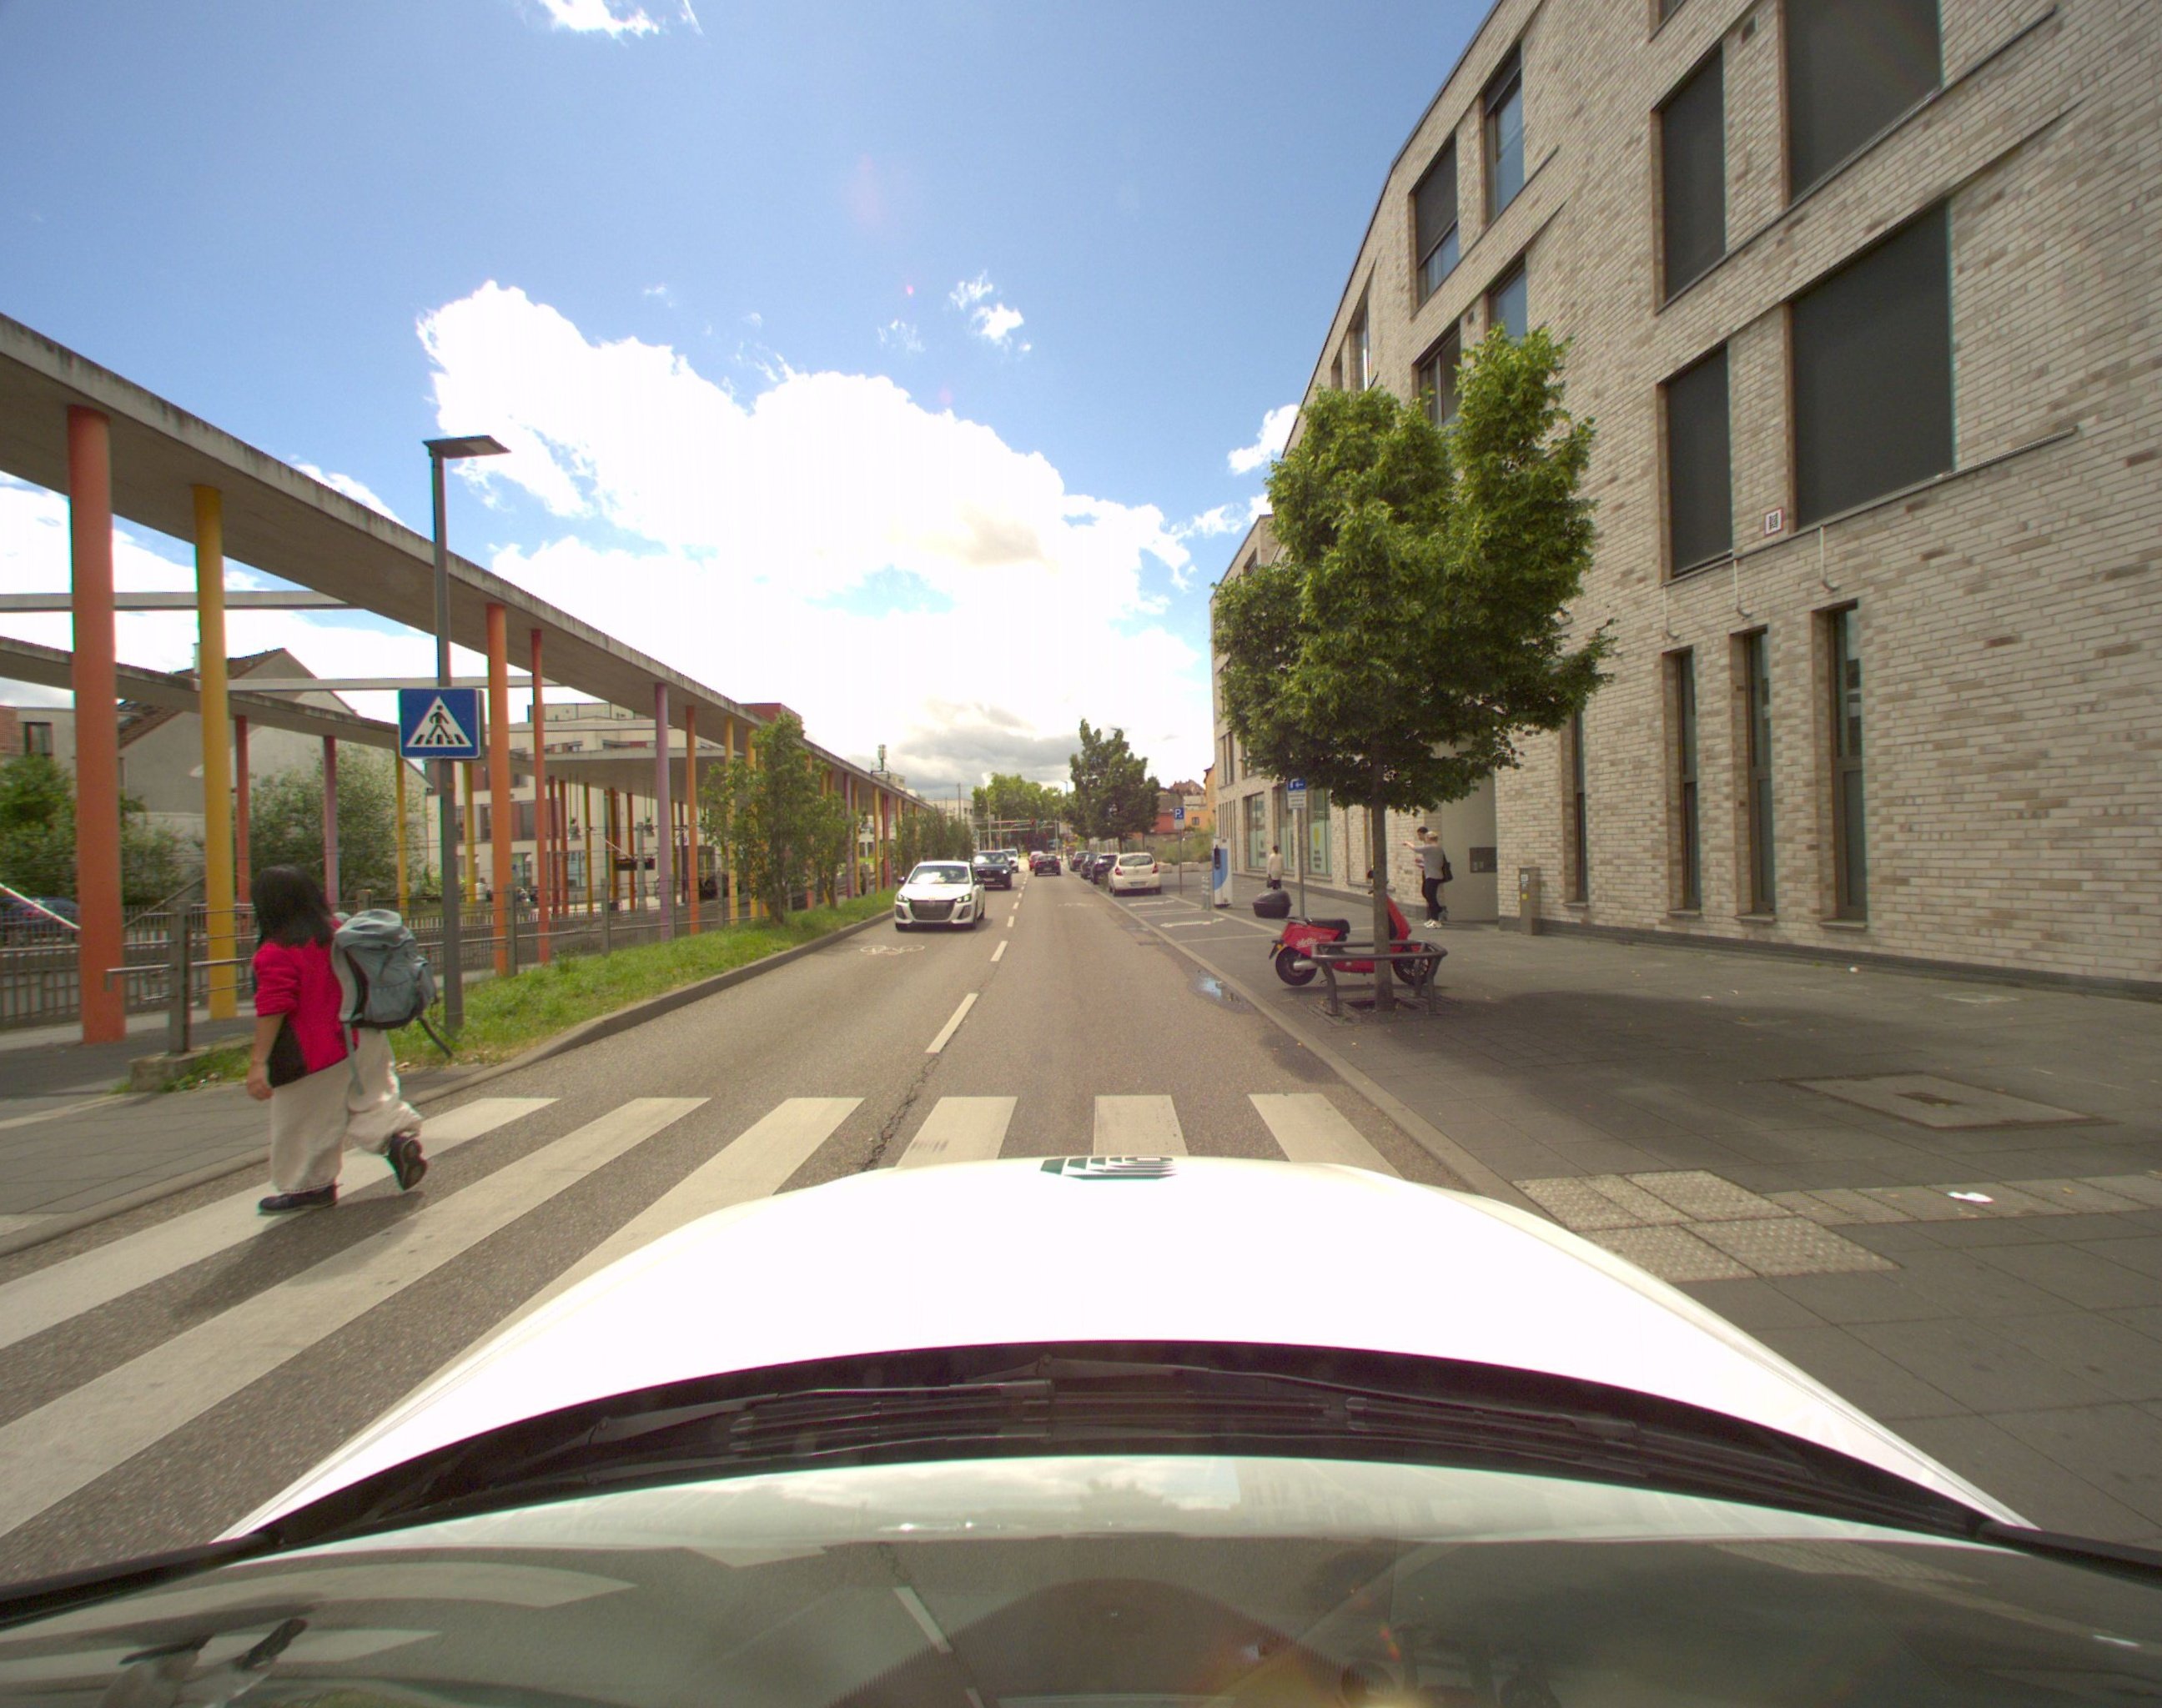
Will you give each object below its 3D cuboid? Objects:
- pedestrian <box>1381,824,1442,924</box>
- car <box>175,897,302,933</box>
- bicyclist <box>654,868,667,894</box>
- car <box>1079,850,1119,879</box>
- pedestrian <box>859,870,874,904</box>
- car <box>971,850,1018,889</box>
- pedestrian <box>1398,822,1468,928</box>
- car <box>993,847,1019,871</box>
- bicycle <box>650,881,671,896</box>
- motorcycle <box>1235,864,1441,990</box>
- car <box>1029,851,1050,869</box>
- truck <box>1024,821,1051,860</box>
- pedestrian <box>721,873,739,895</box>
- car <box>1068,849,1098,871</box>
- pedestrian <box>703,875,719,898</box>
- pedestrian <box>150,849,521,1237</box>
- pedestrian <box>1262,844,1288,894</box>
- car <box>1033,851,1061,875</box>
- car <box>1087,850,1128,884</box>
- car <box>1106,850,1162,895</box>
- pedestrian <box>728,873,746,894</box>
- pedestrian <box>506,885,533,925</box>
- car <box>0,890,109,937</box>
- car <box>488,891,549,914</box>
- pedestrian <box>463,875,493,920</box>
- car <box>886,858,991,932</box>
[{"bbox_3d":[6.060,0.357,14.956,0.735,1.766,0.621,-2,-1,-9],"label":"pedestrian"},{"bbox_3d":[-33.377,2.386,32.304,3.960,1.337,1.575,-1,-2,12],"label":"car"},{"bbox_3d":[-26.736,1.720,51.794,0.482,1.593,0.681,0,-2,-1],"label":"bicyclist"},{"bbox_3d":[0.958,0.555,45.921,1.860,1.451,4.638,-3,0,-3],"label":"car"},{"bbox_3d":[-11.431,1.760,43.409,0.585,1.830,0.709,0,-2,-1],"label":"pedestrian"},{"bbox_3d":[-3.749,0.650,35.814,1.916,1.605,4.619,0,0,-5],"label":"car"},{"bbox_3d":[6.133,0.364,14.201,0.734,1.766,0.753,-2,-1,-17],"label":"pedestrian"},{"bbox_3d":[-6.241,0.390,67.370,2.002,1.917,5.052,0,0,-7],"label":"car"},{"bbox_3d":[-26.728,2.171,51.756,0.482,0.963,1.612,-1,-2,0],"label":"bicycle"},{"bbox_3d":[2.815,0.809,9.084,2.035,1.266,0.675,-4,-1,14],"label":"motorcycle"},{"bbox_3d":[-3.627,0.519,70.819,1.709,1.393,3.802,-2,1,-5],"label":"car"},{"bbox_3d":[-5.580,-1.637,104.678,3.196,4.536,9.018,-1,-1,-3],"label":"truck"},{"bbox_3d":[-22.600,1.909,52.401,0.820,1.379,0.701,0,1,-3],"label":"pedestrian"},{"bbox_3d":[0.107,0.404,60.599,1.779,1.451,4.469,-3,0,-5],"label":"car"},{"bbox_3d":[-22.546,1.982,49.658,0.650,1.379,0.701,0,1,-3],"label":"pedestrian"},{"bbox_3d":[-3.348,0.777,3.775,0.925,1.565,0.813,0,-2,-5],"label":"pedestrian"},{"bbox_3d":[5.962,0.459,25.033,0.604,1.472,0.792,-3,0,5],"label":"pedestrian"},{"bbox_3d":[-2.278,0.555,53.825,1.723,1.456,3.804,-2,1,-4],"label":"car"},{"bbox_3d":[1.238,0.575,39.389,1.688,1.461,4.144,-3,0,-1],"label":"car"},{"bbox_3d":[1.889,0.633,30.056,1.688,1.483,3.796,-3,0,-1],"label":"car"},{"bbox_3d":[-22.566,1.932,53.423,0.820,1.379,0.701,0,1,-3],"label":"pedestrian"},{"bbox_3d":[-23.888,2.147,34.665,0.640,1.662,0.729,0,-2,-3],"label":"pedestrian"},{"bbox_3d":[-33.820,1.886,26.181,3.960,1.401,1.575,-1,-2,12],"label":"car"},{"bbox_3d":[-39.215,3.378,56.782,3.675,1.325,1.655,-5,-3,20],"label":"car"},{"bbox_3d":[-25.240,1.816,34.124,0.640,1.883,0.799,0,-2,-3],"label":"pedestrian"},{"bbox_3d":[-3.125,0.850,18.579,1.807,1.469,3.904,0,0,-2],"label":"car"}]
